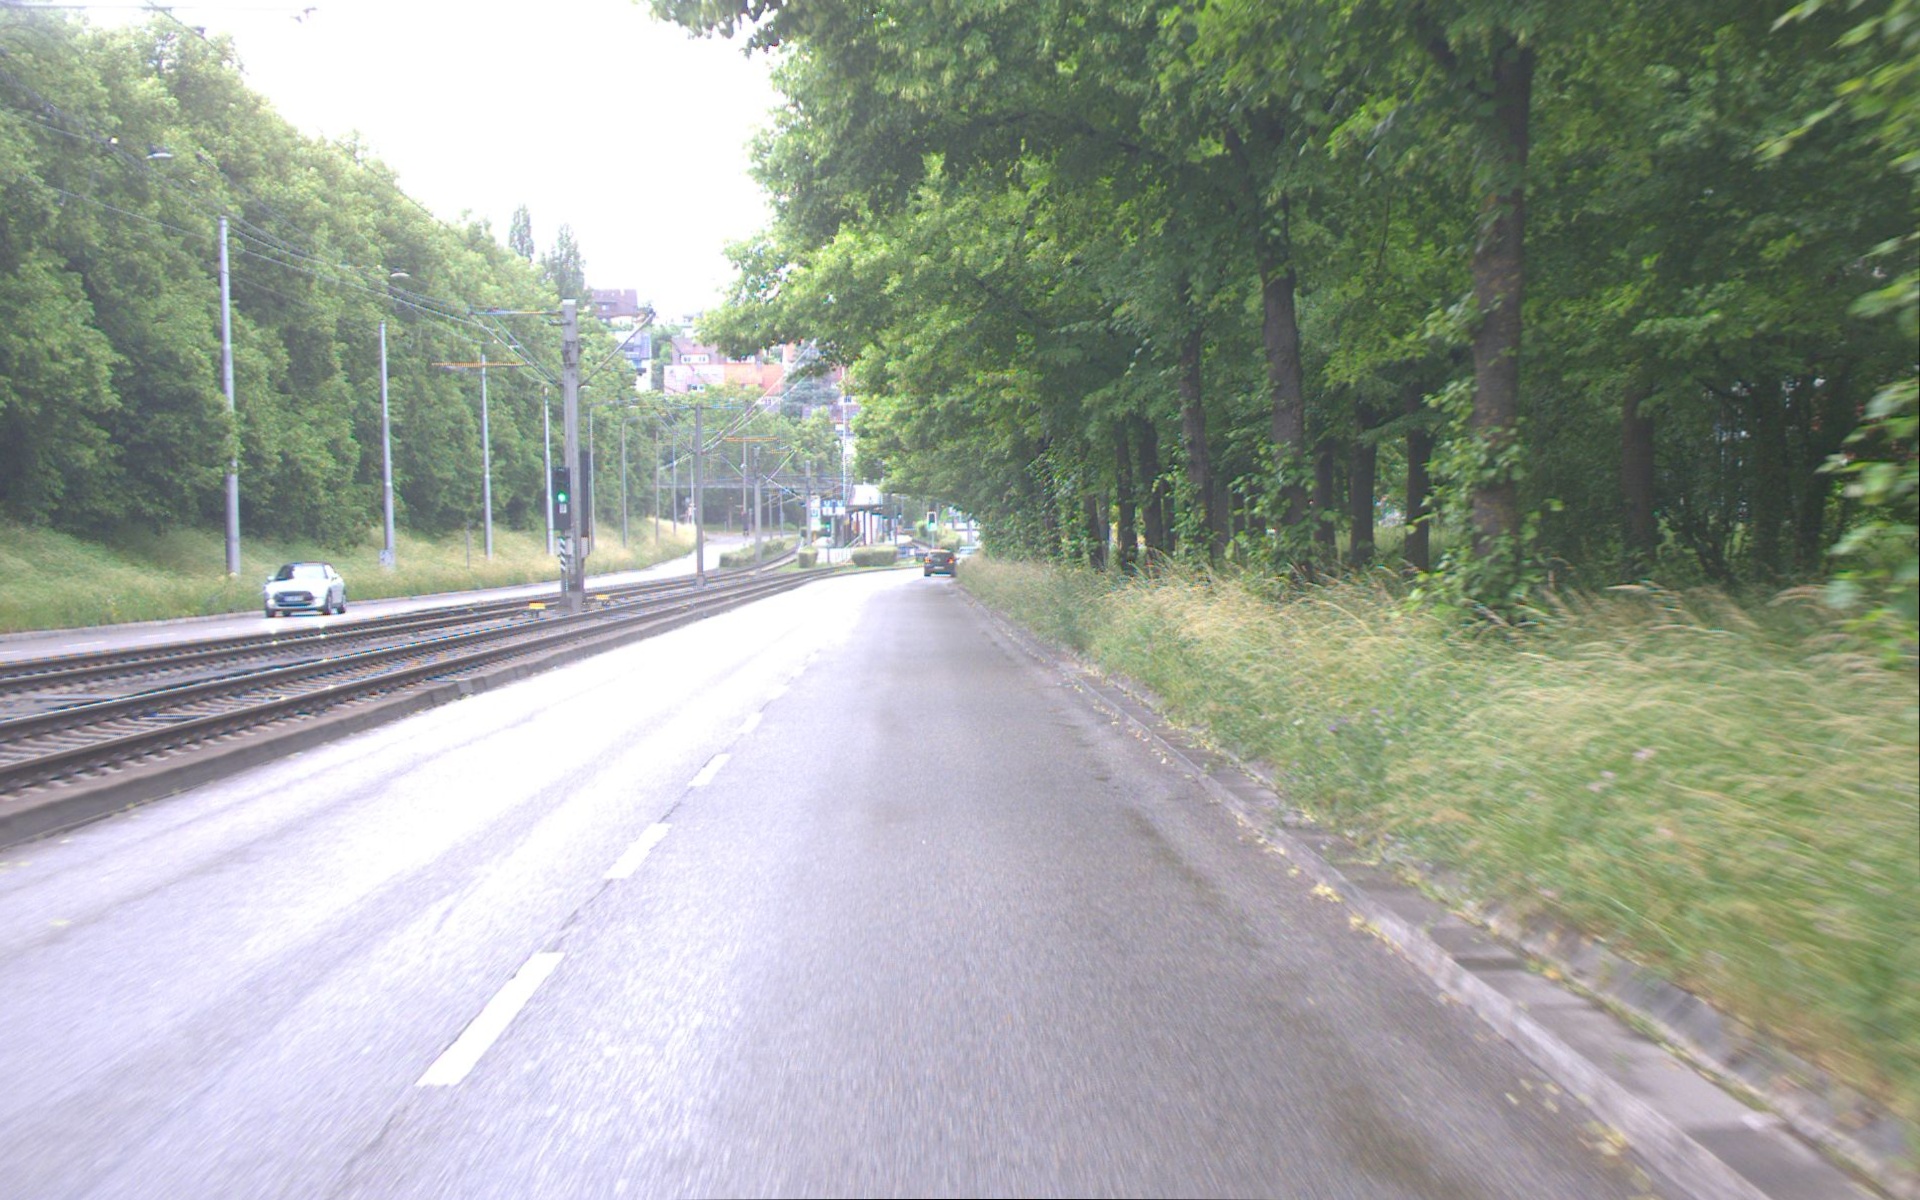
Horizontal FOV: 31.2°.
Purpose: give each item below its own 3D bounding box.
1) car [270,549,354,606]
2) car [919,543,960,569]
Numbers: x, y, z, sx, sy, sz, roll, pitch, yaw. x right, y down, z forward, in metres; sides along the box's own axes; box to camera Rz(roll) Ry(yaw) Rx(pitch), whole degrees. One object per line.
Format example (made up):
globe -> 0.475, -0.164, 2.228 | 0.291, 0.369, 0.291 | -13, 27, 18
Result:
car -> -17.342, -0.621, 92.153 | 1.476, 1.431, 3.909 | -2, 1, 0
car -> -1.116, -2.367, 186.304 | 2.194, 1.325, 4.001 | 0, 2, -1
